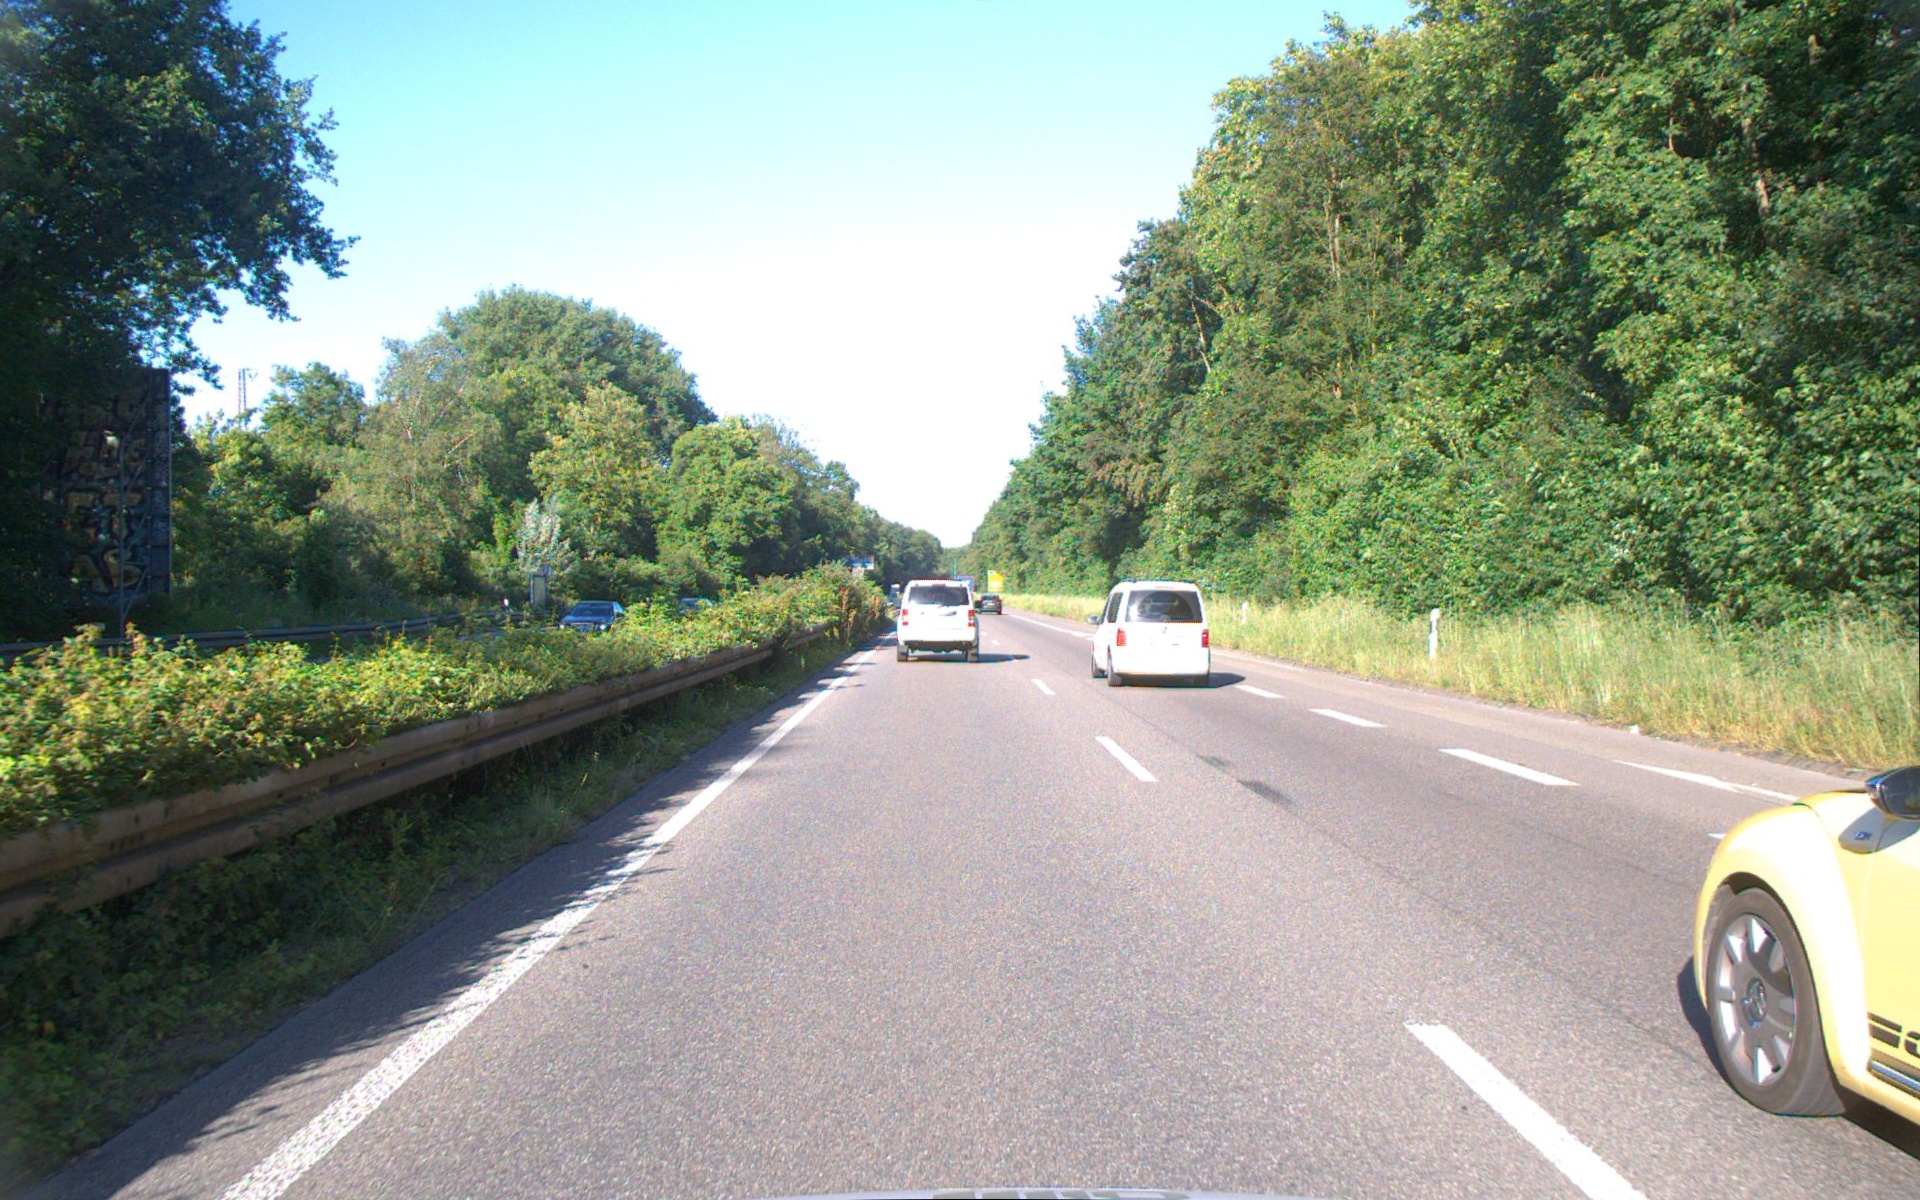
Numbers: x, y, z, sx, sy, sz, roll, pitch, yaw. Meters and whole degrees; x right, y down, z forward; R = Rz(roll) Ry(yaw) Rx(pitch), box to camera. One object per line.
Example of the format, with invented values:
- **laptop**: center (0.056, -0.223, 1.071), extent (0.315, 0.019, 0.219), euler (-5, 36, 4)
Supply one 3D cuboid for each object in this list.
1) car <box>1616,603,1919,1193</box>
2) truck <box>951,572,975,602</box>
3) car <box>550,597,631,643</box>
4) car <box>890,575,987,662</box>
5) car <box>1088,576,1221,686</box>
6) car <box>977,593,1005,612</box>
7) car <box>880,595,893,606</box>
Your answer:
- **car**: center (3.370, 0.771, 3.914), extent (1.841, 1.487, 4.355), euler (0, 0, -1)
- **truck**: center (0.404, -1.836, 241.635), extent (3.425, 4.245, 8.860), euler (0, 0, -1)
- **car**: center (-12.450, 0.645, 56.015), extent (1.921, 1.475, 4.504), euler (1, 0, -3)
- **car**: center (-0.536, 0.384, 37.318), extent (2.043, 1.860, 3.998), euler (0, 0, -3)
- **car**: center (3.398, 0.495, 29.662), extent (1.825, 1.801, 4.469), euler (1, 0, -1)
- **car**: center (2.278, 0.166, 123.964), extent (1.953, 1.422, 3.999), euler (1, 0, -1)
- **car**: center (-10.679, -0.001, 240.379), extent (1.839, 1.567, 4.463), euler (0, 0, -1)
